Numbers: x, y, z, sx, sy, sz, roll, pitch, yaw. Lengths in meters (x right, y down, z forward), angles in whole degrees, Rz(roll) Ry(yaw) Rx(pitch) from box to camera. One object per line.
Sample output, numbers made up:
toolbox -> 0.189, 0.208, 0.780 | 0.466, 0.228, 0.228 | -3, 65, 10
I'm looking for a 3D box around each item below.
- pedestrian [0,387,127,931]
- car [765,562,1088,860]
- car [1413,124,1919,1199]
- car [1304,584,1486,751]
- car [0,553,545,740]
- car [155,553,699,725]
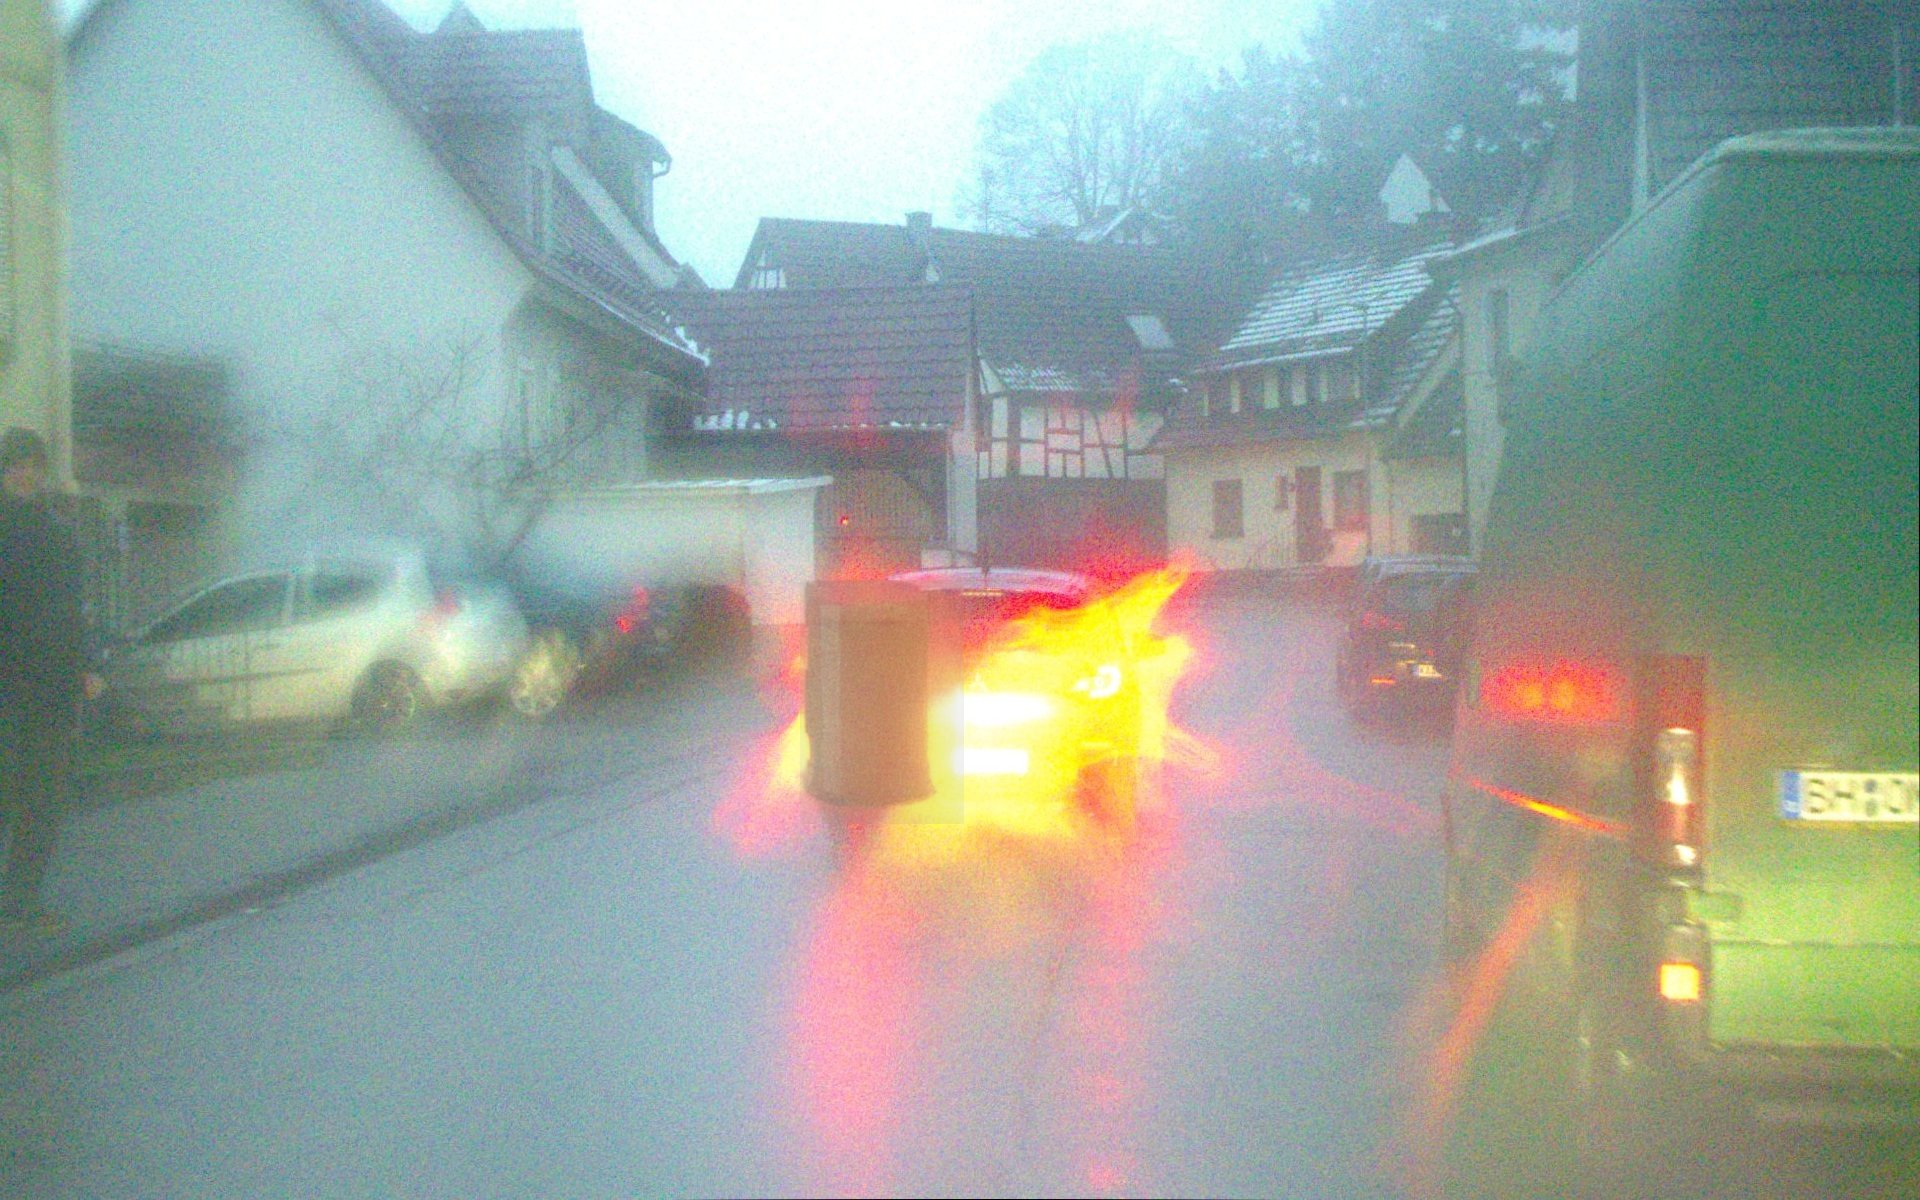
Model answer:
pedestrian -> -3.737, 0.212, 13.174 | 0.783, 2.007, 0.869 | 1, 0, 6
car -> -0.101, 0.534, 19.026 | 1.546, 1.461, 3.698 | 0, 1, 3
car -> 2.527, 0.191, 9.987 | 2.009, 2.445, 5.614 | 1, 1, 4
car -> 4.212, 0.601, 33.375 | 1.638, 1.466, 3.999 | 1, 1, 7
car -> -6.050, 0.390, 29.297 | 4.605, 1.465, 1.891 | -1, 0, 11
car -> -4.898, 0.347, 31.966 | 4.594, 1.465, 1.999 | -1, 0, 7
